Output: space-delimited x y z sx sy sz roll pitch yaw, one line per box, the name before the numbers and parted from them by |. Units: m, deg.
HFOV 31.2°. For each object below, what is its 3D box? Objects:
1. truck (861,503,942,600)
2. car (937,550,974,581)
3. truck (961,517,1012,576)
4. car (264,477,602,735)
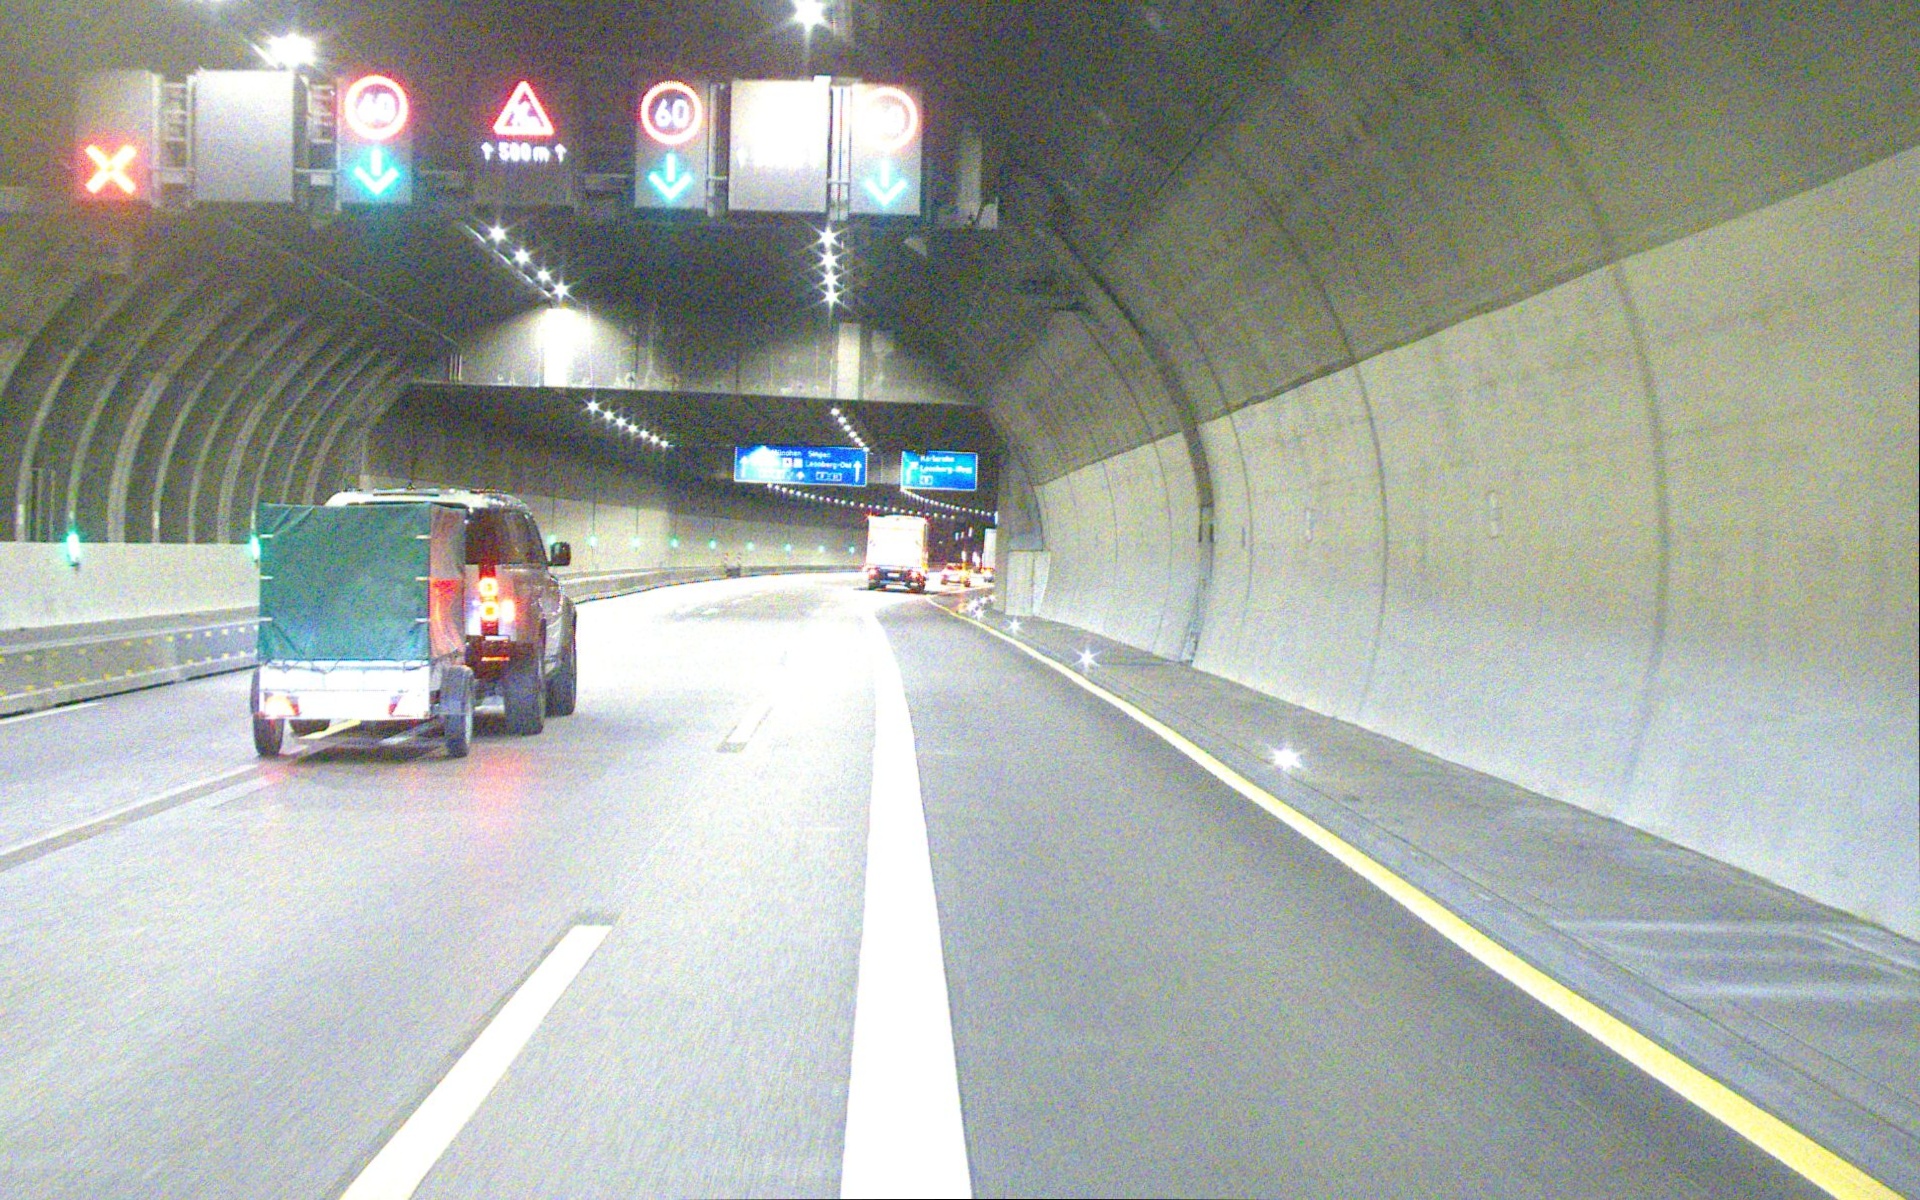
truck | -2.828 -2.348 162.070 3.474 4.301 10.953 2 1 -2
car | -0.289 -2.232 222.604 1.994 1.888 5.531 2 1 4
truck | 1.971 -4.073 261.188 3.474 4.301 10.953 1 1 -1
car | -4.272 -0.005 28.751 1.993 1.888 5.454 2 1 -1
